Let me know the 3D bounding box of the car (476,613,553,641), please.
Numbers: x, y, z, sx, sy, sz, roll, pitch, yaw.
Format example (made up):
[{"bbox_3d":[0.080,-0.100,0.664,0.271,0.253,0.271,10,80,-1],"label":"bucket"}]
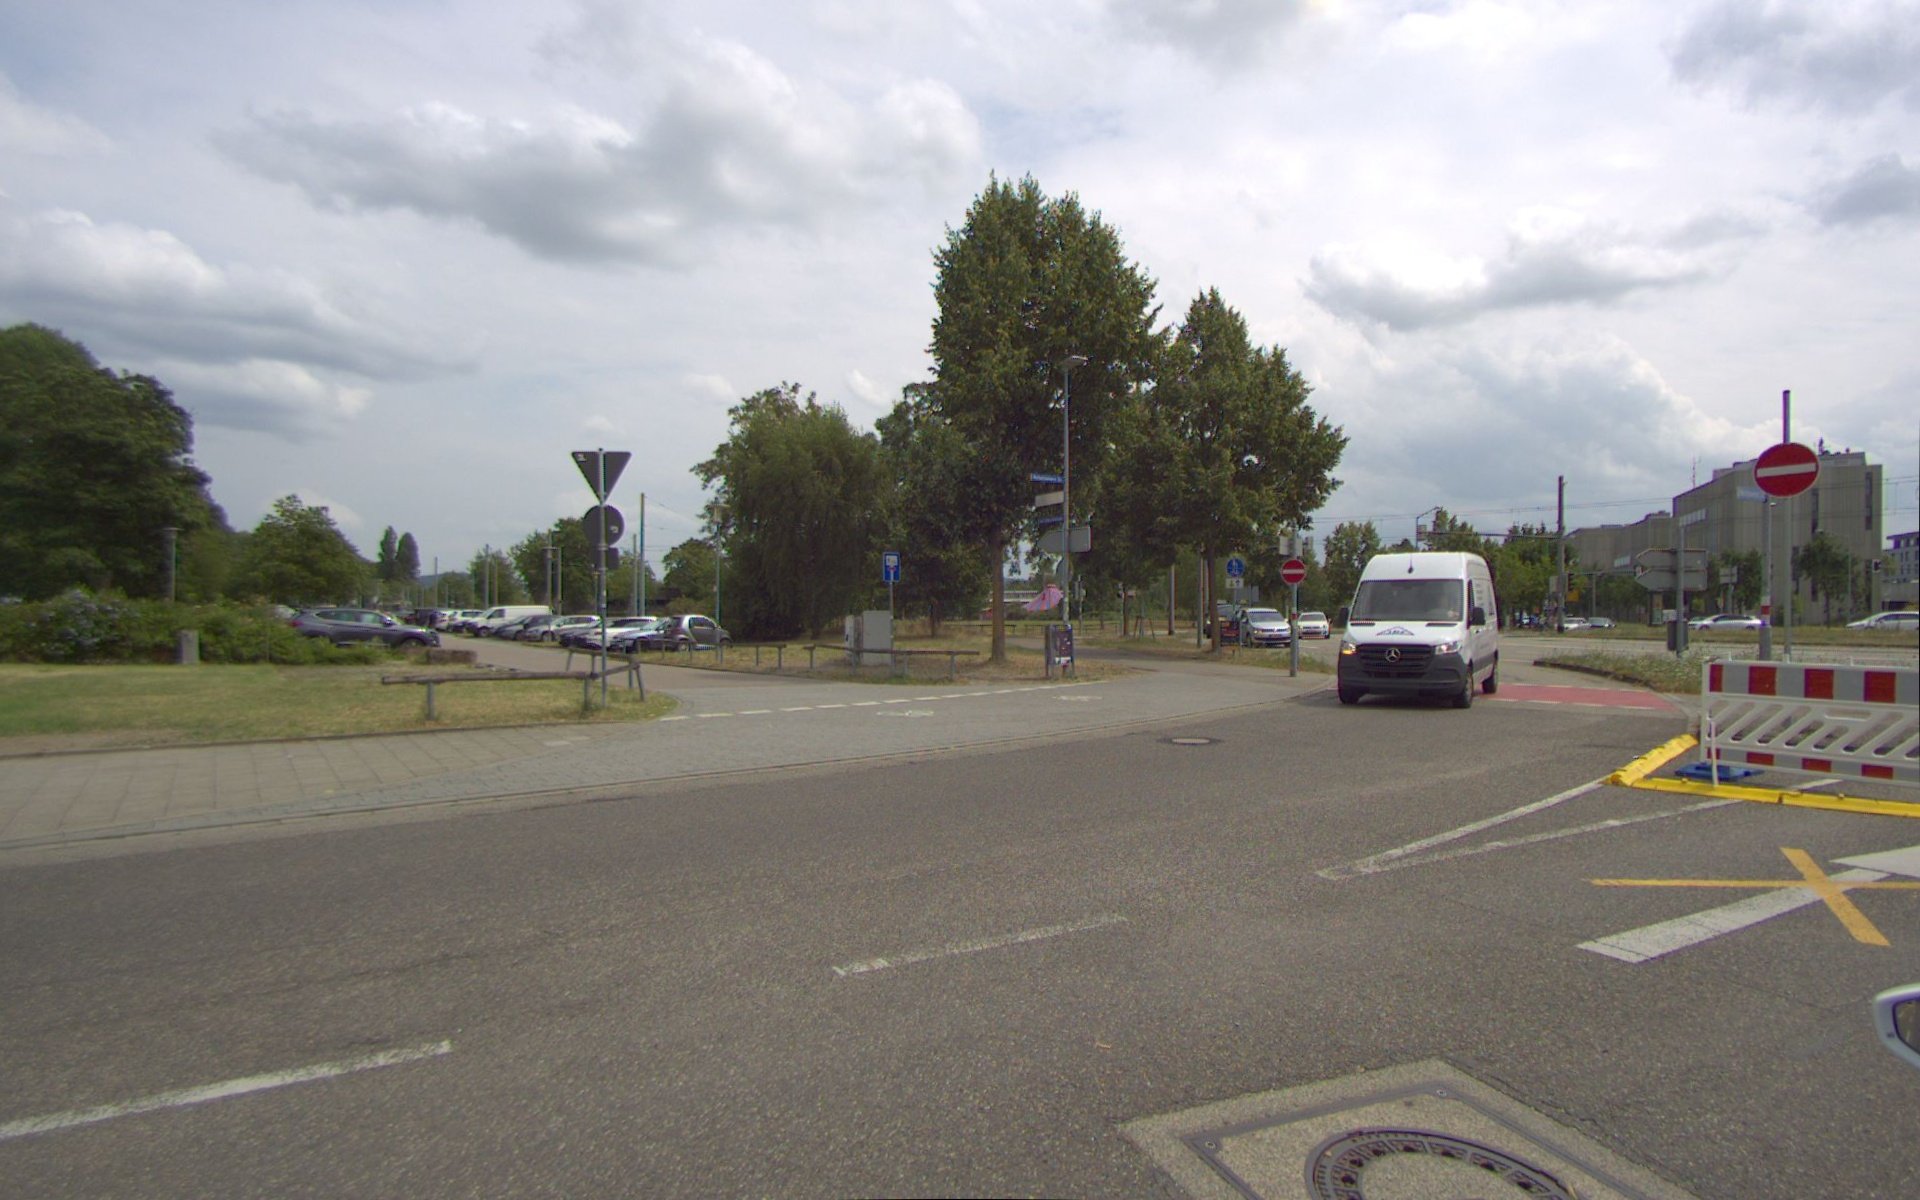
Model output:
[{"bbox_3d":[-27.664,1.670,62.404,4.102,1.612,1.795,0,-1,-38],"label":"car"}]

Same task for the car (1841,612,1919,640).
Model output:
[{"bbox_3d":[61.702,1.757,67.065,3.925,1.795,1.766,-2,-2,25],"label":"car"}]

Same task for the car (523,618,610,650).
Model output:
[{"bbox_3d":[-21.485,1.849,54.855,4.102,1.612,1.795,0,-1,-38],"label":"car"}]

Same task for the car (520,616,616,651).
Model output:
[{"bbox_3d":[-19.389,1.621,49.746,4.102,1.612,1.795,0,-1,-38],"label":"car"}]

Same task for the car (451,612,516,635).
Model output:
[{"bbox_3d":[-35.583,1.727,74.982,4.102,1.612,1.795,0,-1,-38],"label":"car"}]

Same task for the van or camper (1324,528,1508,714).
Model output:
[{"bbox_3d":[8.426,0.376,18.151,2.120,2.761,6.262,-2,-2,32],"label":"van or camper"}]

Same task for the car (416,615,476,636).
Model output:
[{"bbox_3d":[-42.153,2.103,82.436,4.102,1.612,1.795,0,-1,-38],"label":"car"}]

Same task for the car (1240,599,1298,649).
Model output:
[{"bbox_3d":[13.422,1.060,43.433,1.962,2.040,3.998,-2,-2,23],"label":"car"}]

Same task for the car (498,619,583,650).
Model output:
[{"bbox_3d":[-23.550,1.941,56.460,4.102,1.612,1.795,0,-1,-38],"label":"car"}]

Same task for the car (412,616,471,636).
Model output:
[{"bbox_3d":[-43.365,2.180,84.013,4.102,1.612,1.795,0,-1,-38],"label":"car"}]

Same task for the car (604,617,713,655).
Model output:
[{"bbox_3d":[-12.828,1.511,42.822,4.096,1.529,1.797,0,-1,-34],"label":"car"}]

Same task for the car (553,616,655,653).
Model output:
[{"bbox_3d":[-16.474,1.568,46.569,4.102,1.612,1.795,0,-1,-38],"label":"car"}]

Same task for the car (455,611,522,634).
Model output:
[{"bbox_3d":[-33.963,1.611,72.453,4.102,1.612,1.795,0,-1,-38],"label":"car"}]

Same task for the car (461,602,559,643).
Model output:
[{"bbox_3d":[-29.060,1.435,64.961,5.496,2.499,2.084,0,-1,-38],"label":"car"}]

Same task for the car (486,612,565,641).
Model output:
[{"bbox_3d":[-26.284,1.589,60.777,4.102,1.612,1.795,0,-1,-38],"label":"car"}]

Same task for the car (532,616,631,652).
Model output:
[{"bbox_3d":[-18.169,1.598,48.313,4.102,1.612,1.795,0,-1,-38],"label":"car"}]

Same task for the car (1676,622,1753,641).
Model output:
[{"bbox_3d":[52.491,2.204,69.966,3.922,1.208,1.686,-2,-2,20],"label":"car"}]

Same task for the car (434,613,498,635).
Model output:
[{"bbox_3d":[-37.609,1.816,76.451,4.102,1.612,1.795,0,-1,-38],"label":"car"}]

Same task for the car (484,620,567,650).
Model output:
[{"bbox_3d":[-25.239,2.027,58.431,4.102,1.612,1.795,0,-1,-38],"label":"car"}]

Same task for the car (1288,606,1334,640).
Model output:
[{"bbox_3d":[19.350,1.269,55.235,1.736,1.795,3.994,-2,-2,28],"label":"car"}]

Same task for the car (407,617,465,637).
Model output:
[{"bbox_3d":[-44.678,2.261,85.691,4.102,1.612,1.795,0,-1,-38],"label":"car"}]

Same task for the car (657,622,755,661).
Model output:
[{"bbox_3d":[-10.493,1.709,41.631,3.604,1.497,1.646,0,-1,-40],"label":"car"}]

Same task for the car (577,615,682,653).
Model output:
[{"bbox_3d":[-14.779,1.494,44.953,4.102,1.612,1.795,0,-1,-38],"label":"car"}]

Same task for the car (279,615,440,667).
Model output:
[{"bbox_3d":[-19.465,1.294,32.629,4.404,1.529,1.797,0,-1,-35],"label":"car"}]
